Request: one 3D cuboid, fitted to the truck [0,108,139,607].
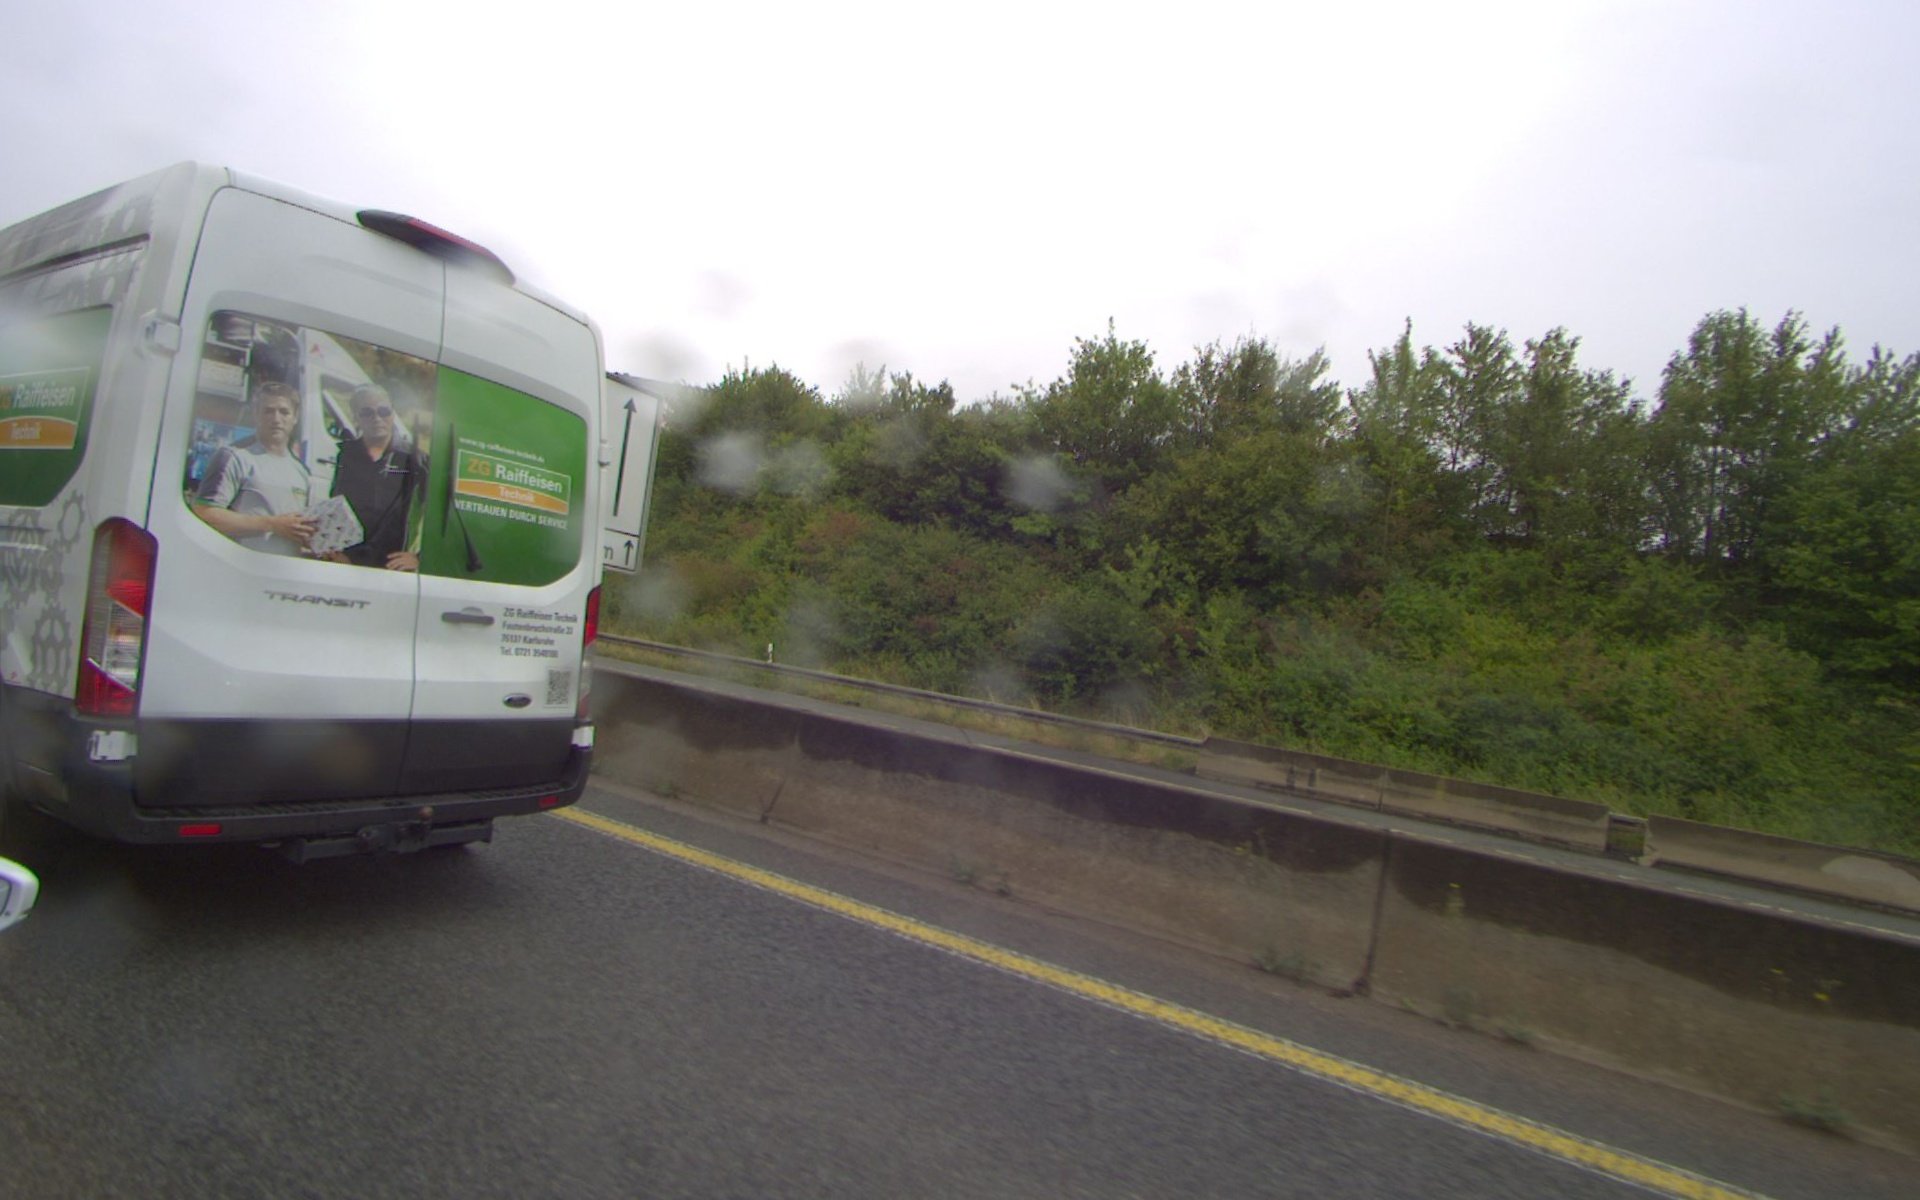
[{"bbox_3d":[-20.246,-3.868,16.609,20.044,5.740,3.985,6,-1,33],"label":"truck"}]

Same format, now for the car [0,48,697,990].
[{"bbox_3d":[-4.463,-0.405,5.414,6.017,2.707,2.147,6,-1,33],"label":"car"}]

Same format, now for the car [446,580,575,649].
[{"bbox_3d":[-15.359,0.479,34.308,4.257,1.790,1.732,6,-1,31],"label":"car"}]
